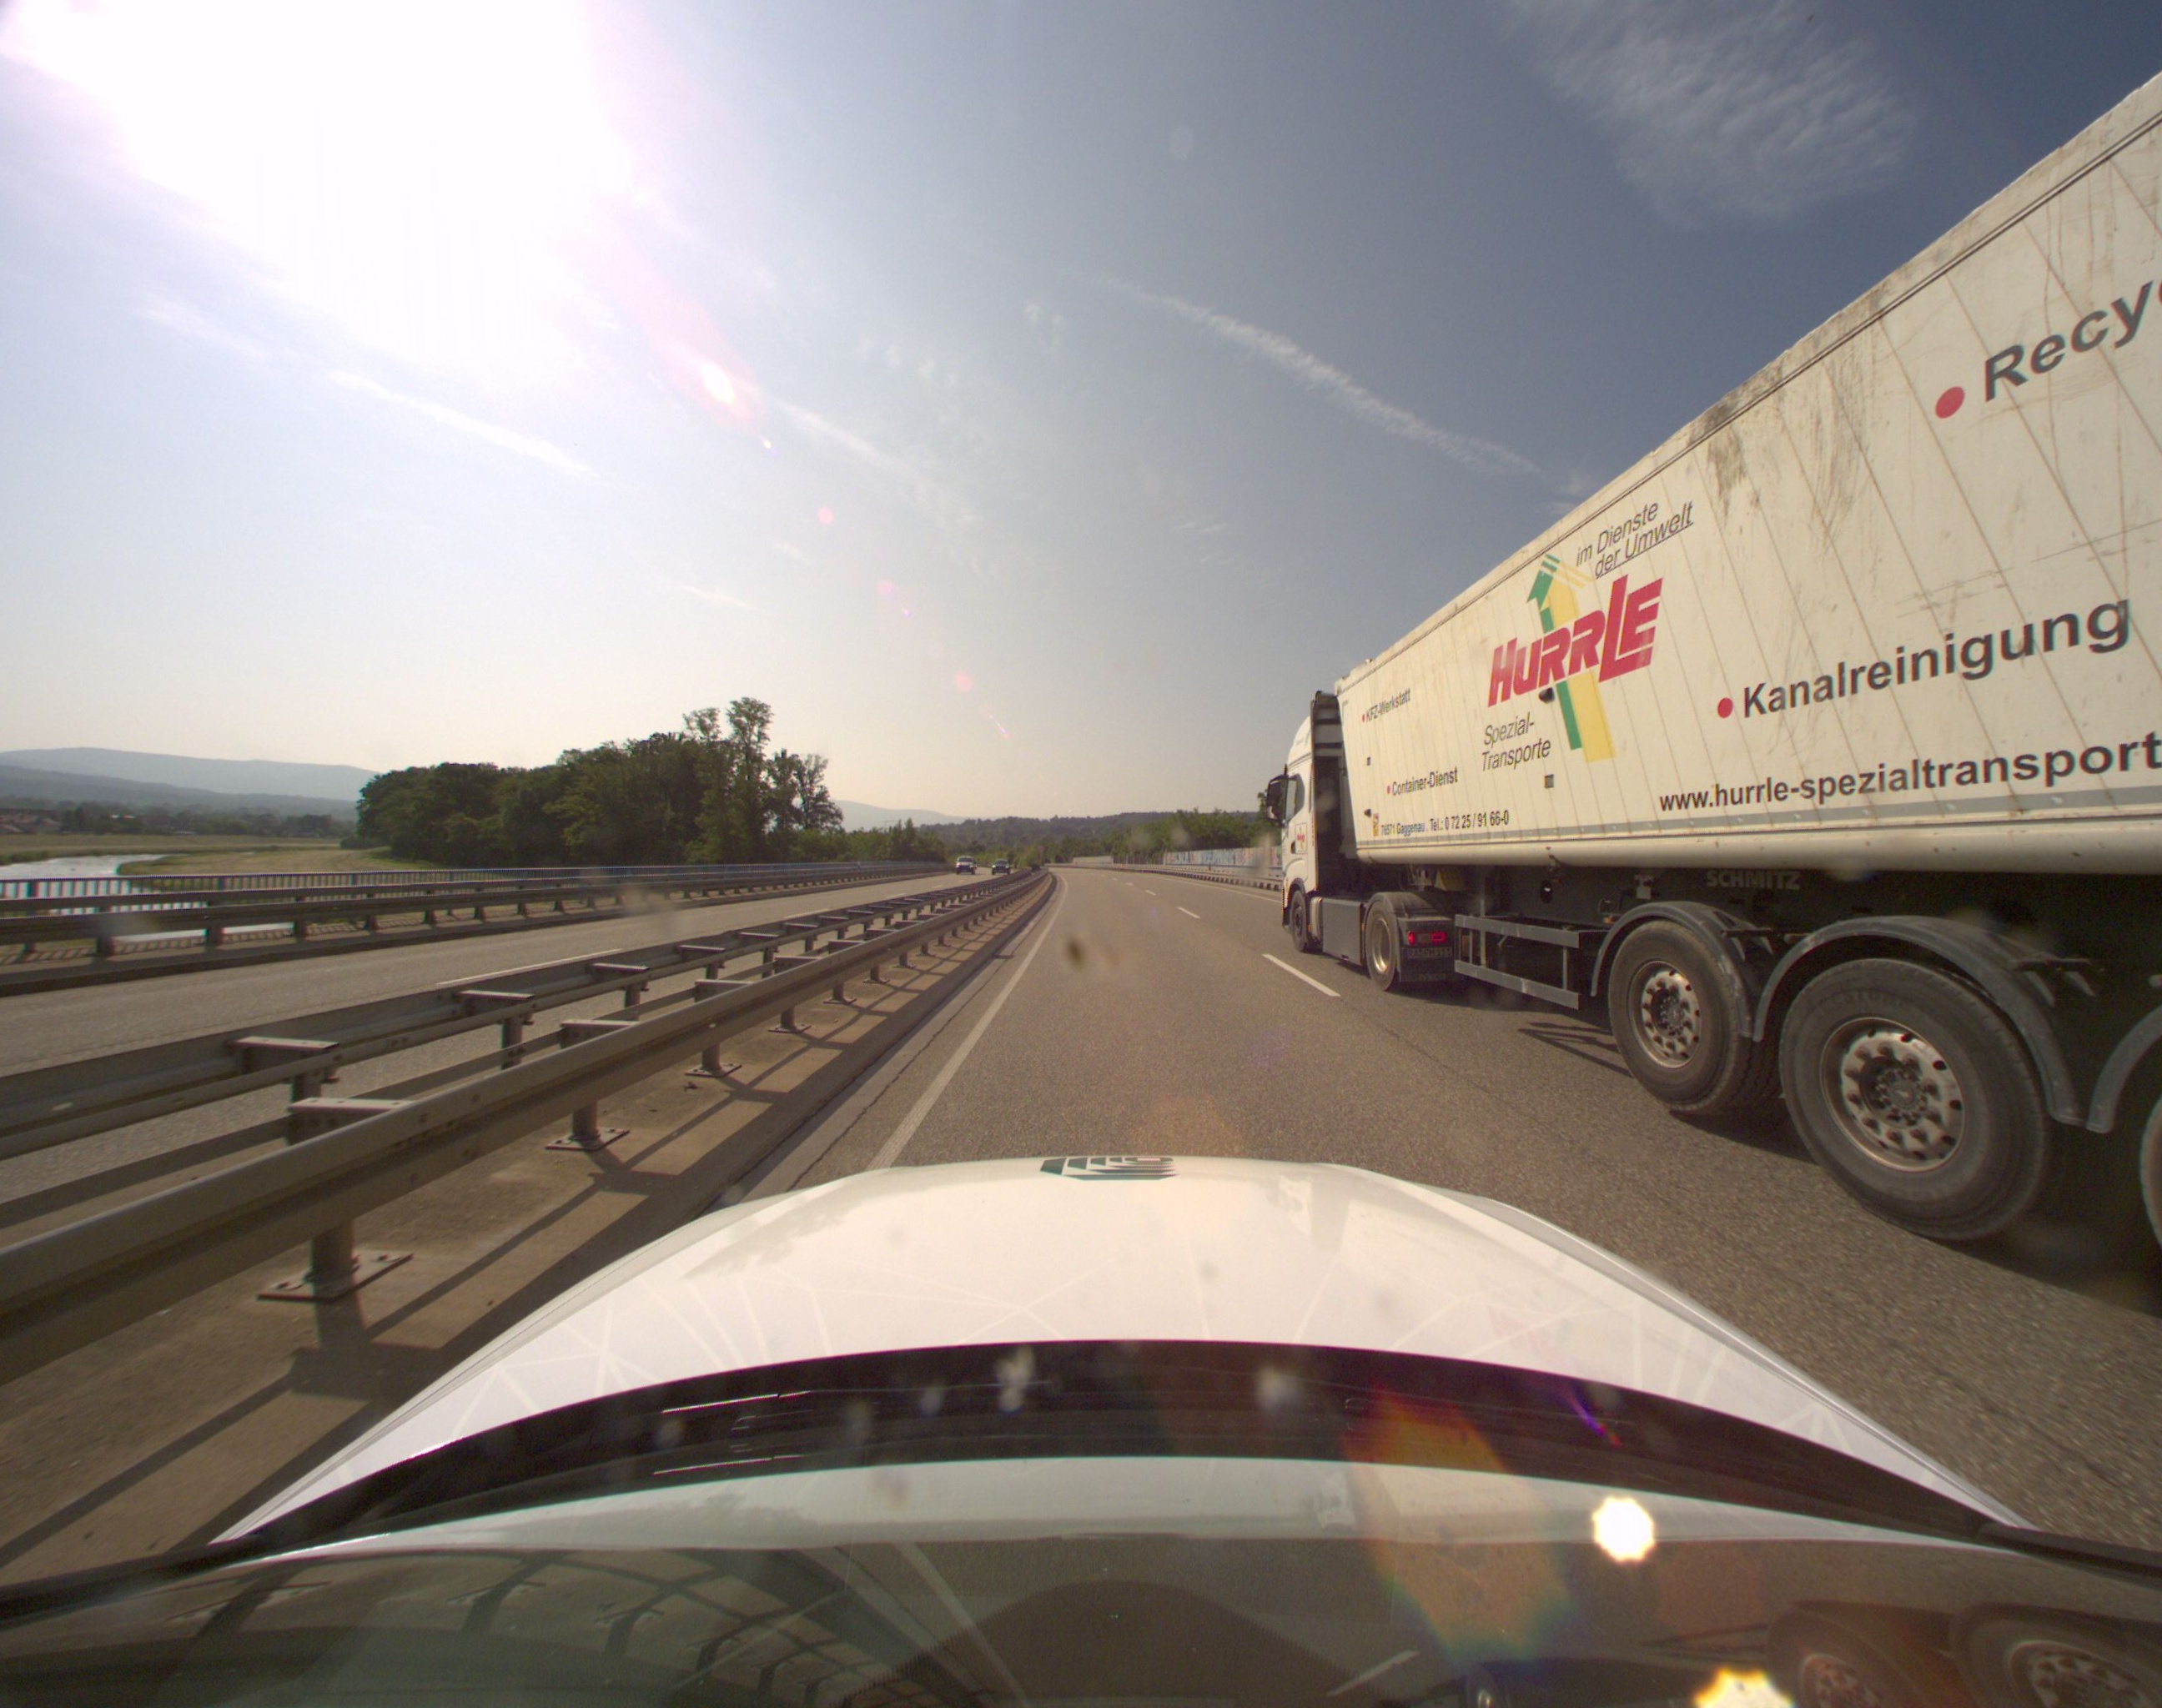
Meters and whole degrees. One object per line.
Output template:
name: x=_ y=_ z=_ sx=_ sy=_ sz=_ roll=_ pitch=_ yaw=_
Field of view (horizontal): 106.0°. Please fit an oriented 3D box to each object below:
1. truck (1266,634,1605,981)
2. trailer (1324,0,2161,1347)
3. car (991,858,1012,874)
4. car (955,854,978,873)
truck: x=4.626 y=-0.500 z=11.997 sx=2.649 sy=3.896 sz=5.649 roll=0 pitch=-1 yaw=1
trailer: x=4.468 y=-0.549 z=5.986 sx=2.669 sy=3.907 sz=9.675 roll=0 pitch=0 yaw=1
car: x=-8.507 y=1.265 z=87.344 sx=1.860 sy=1.607 sz=4.415 roll=1 pitch=0 yaw=-2
car: x=-12.513 y=1.008 z=89.062 sx=2.034 sy=2.006 sz=5.301 roll=1 pitch=0 yaw=-3
